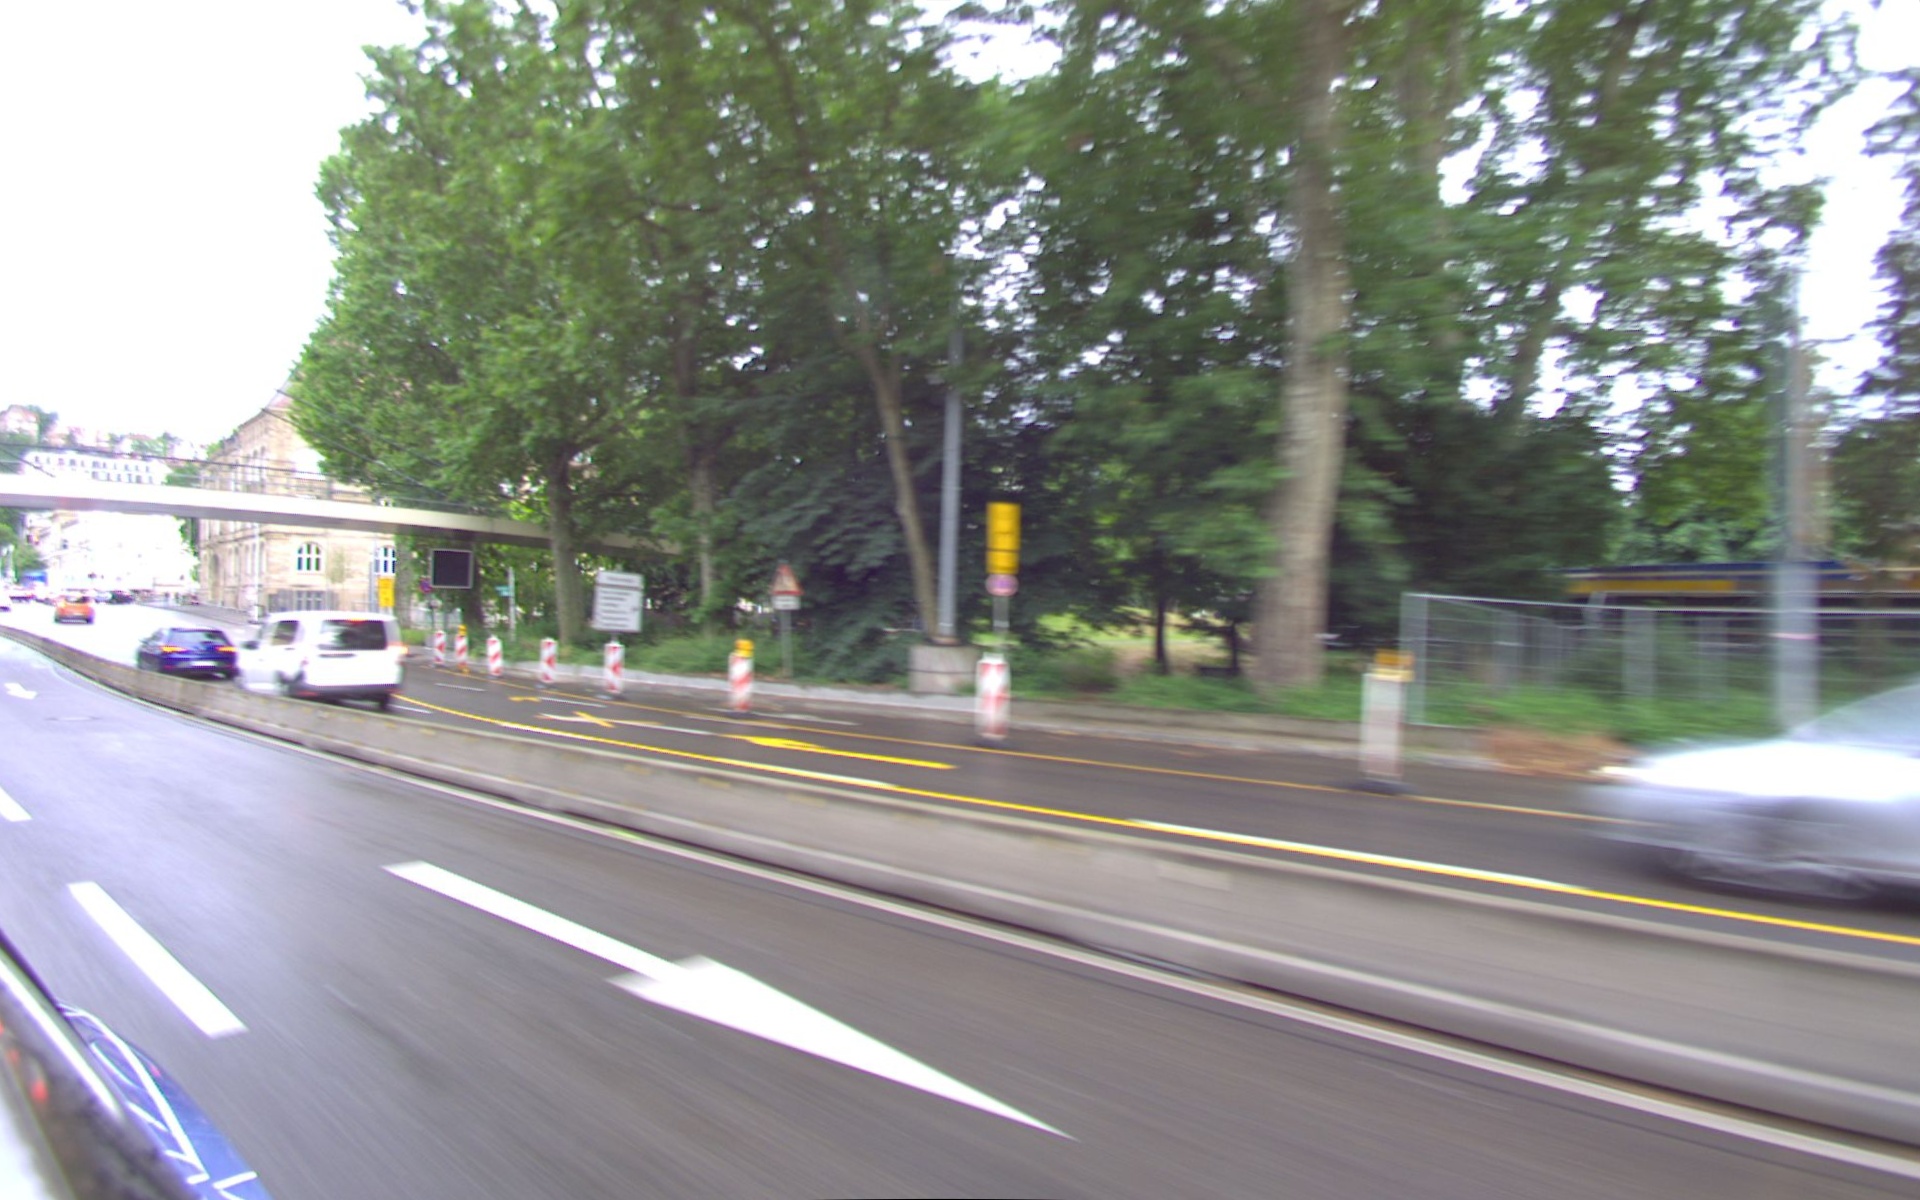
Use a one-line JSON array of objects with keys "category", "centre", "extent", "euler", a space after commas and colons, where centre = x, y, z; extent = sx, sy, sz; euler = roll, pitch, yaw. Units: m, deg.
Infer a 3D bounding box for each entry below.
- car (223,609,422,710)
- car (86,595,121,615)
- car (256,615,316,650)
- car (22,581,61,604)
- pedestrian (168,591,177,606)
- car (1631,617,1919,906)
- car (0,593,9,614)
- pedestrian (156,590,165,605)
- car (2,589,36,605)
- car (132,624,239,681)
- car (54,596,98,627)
[{"category": "car", "centre": [-12.424, 1.076, 19.581], "extent": [4.911, 1.666, 2.008], "euler": [0, -3, 43]}, {"category": "car", "centre": [-95.129, 0.537, 112.428], "extent": [3.991, 2.029, 1.976], "euler": [2, -1, 35]}, {"category": "car", "centre": [-33.963, 1.659, 51.090], "extent": [2.002, 1.666, 4.332], "euler": [1, -2, -27]}, {"category": "car", "centre": [-90.198, -0.775, 99.365], "extent": [3.991, 2.029, 1.976], "euler": [2, -1, 35]}, {"category": "pedestrian", "centre": [-88.821, -0.170, 114.148], "extent": [0.733, 1.596, 0.611], "euler": [2, -2, 36]}, {"category": "car", "centre": [6.490, 0.992, 5.957], "extent": [4.085, 1.552, 1.851], "euler": [2, -2, 38]}, {"category": "car", "centre": [-79.644, 0.261, 83.028], "extent": [4.897, 1.579, 1.874], "euler": [2, -2, 41]}, {"category": "pedestrian", "centre": [-89.805, -0.308, 113.693], "extent": [0.735, 1.596, 0.609], "euler": [2, -2, 43]}, {"category": "car", "centre": [-95.299, -0.281, 102.478], "extent": [4.208, 1.393, 1.974], "euler": [2, -2, 39]}, {"category": "car", "centre": [-21.011, 1.401, 27.392], "extent": [4.064, 1.349, 1.692], "euler": [0, -5, 45]}, {"category": "car", "centre": [-62.321, 0.767, 71.306], "extent": [2.007, 1.951, 5.049], "euler": [4, -2, -44]}]
